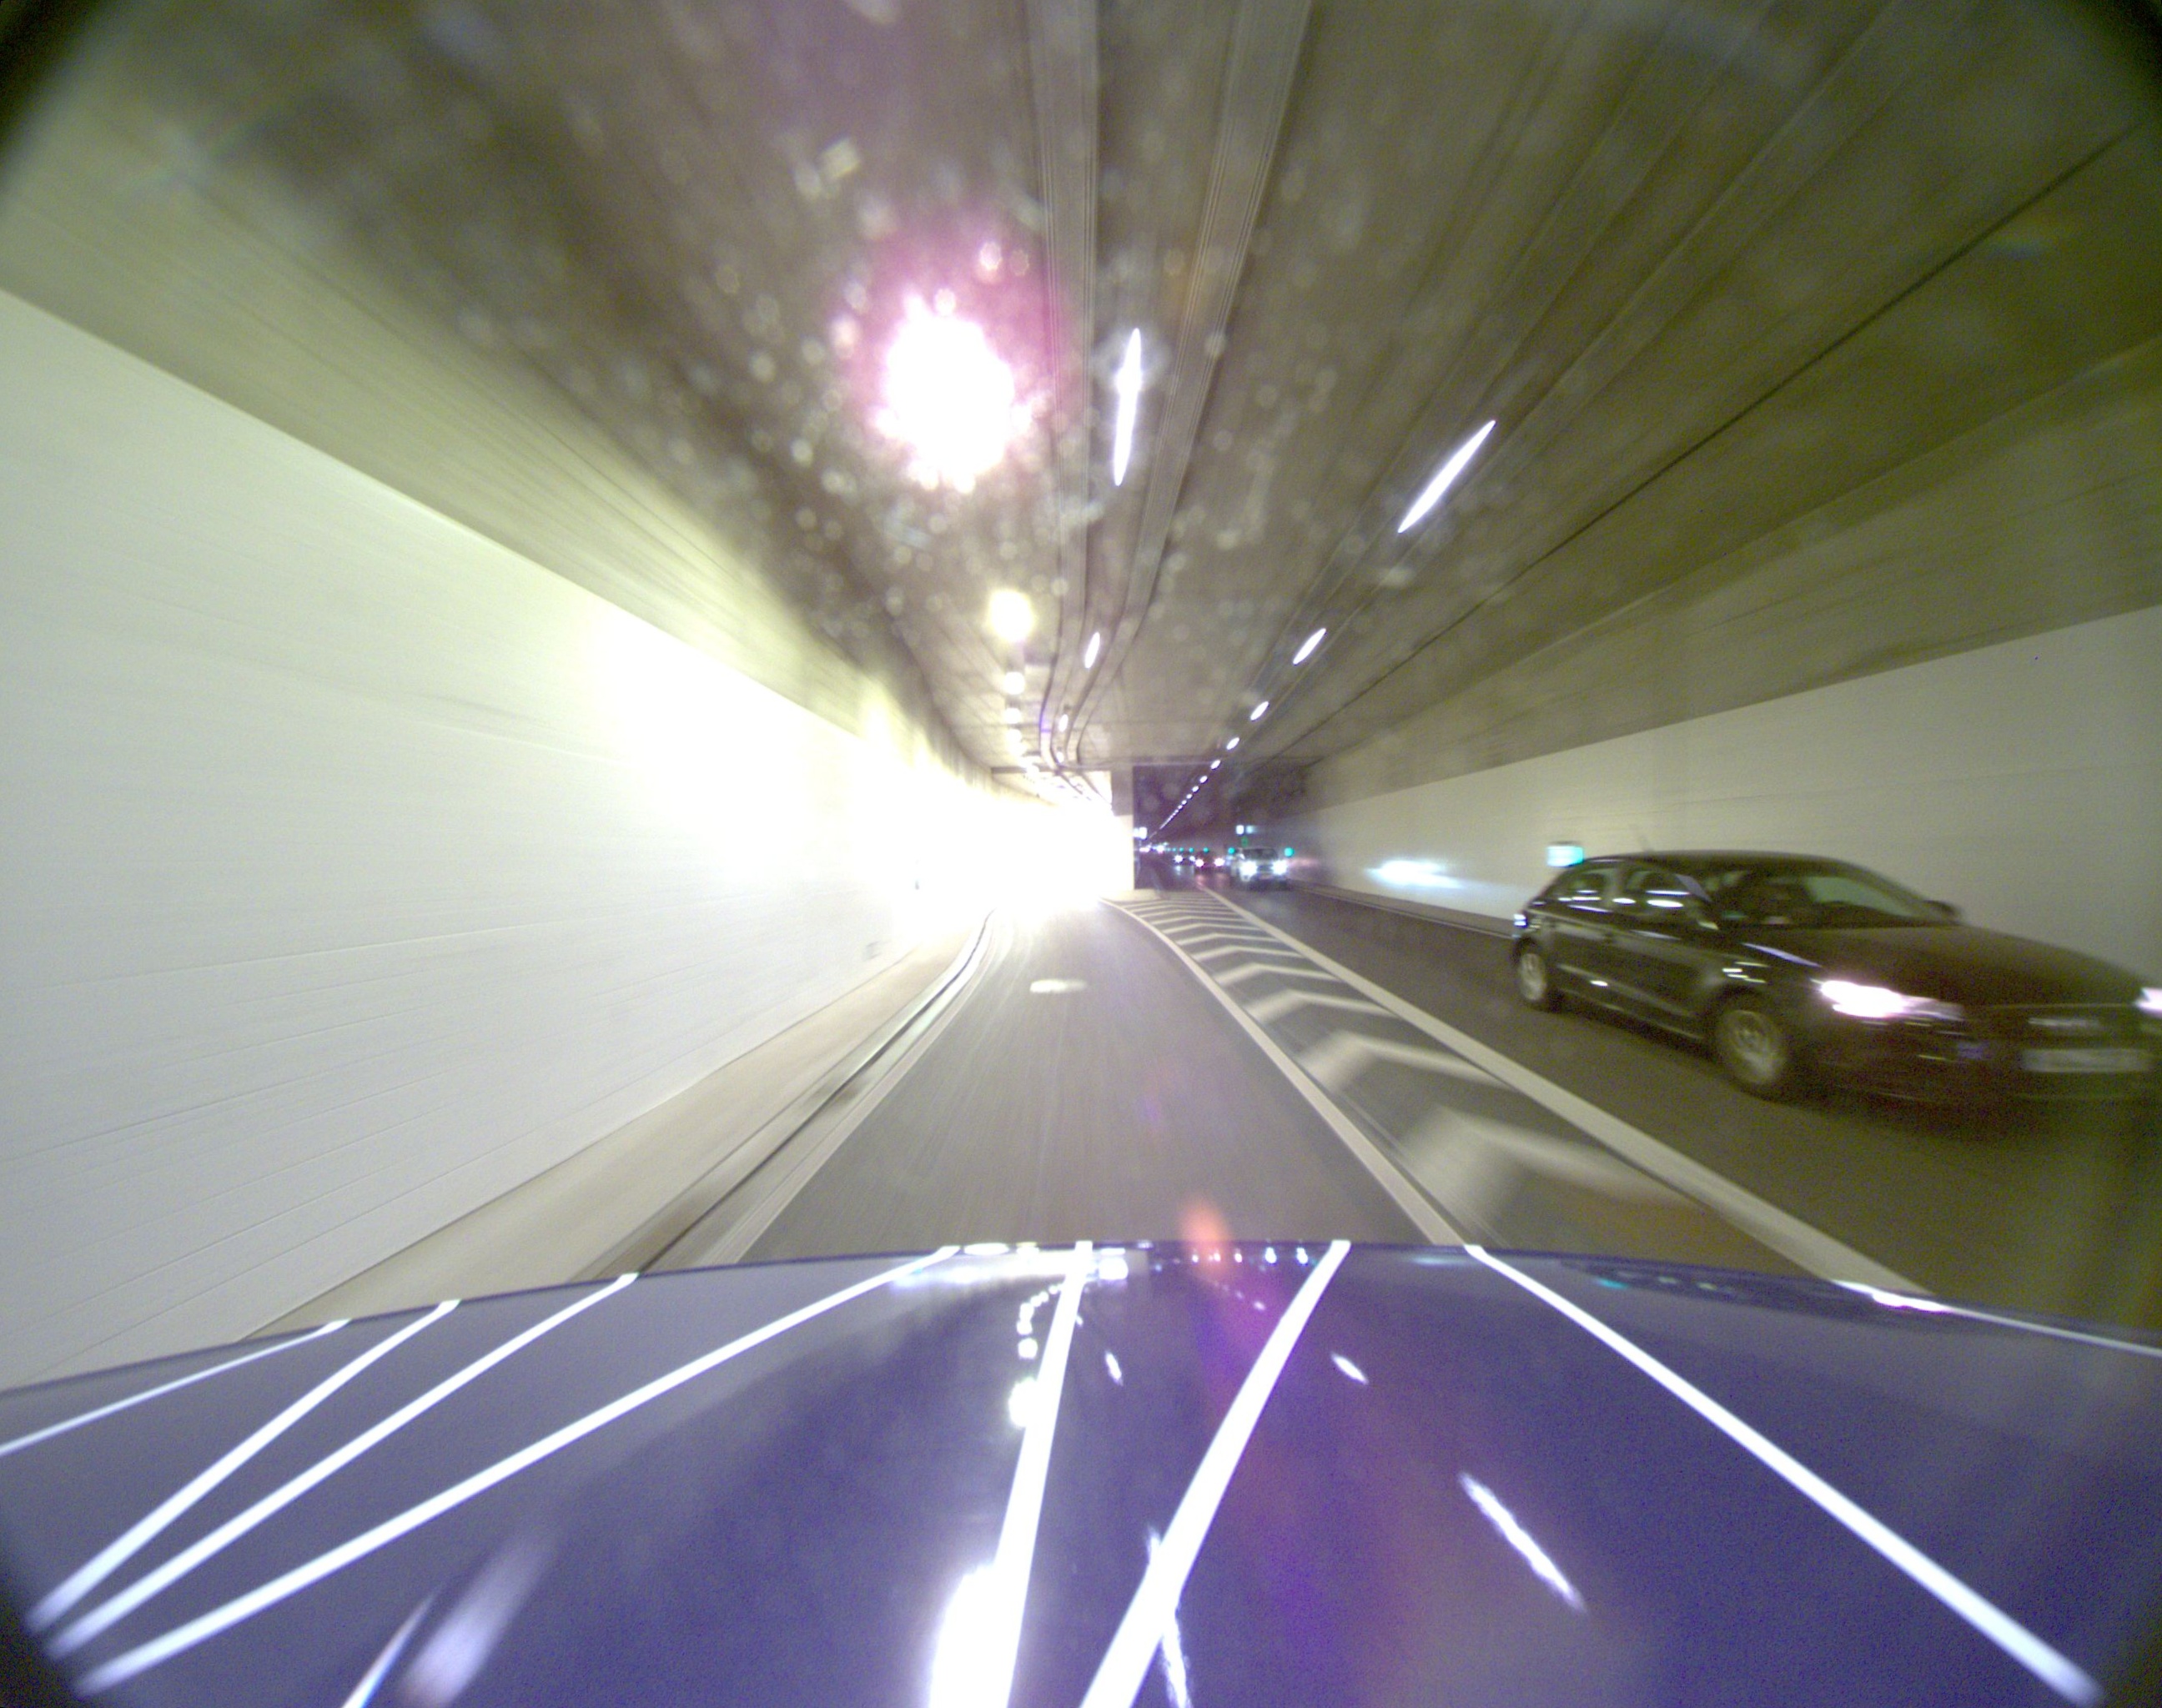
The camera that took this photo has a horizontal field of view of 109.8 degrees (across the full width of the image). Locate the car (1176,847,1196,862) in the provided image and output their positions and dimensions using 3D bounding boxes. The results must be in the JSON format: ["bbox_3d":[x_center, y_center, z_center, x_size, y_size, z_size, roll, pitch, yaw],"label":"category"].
[{"bbox_3d":[10.729,0.044,78.034,1.718,1.443,3.681,-3,0,3],"label":"car"}]

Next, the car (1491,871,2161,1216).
[{"bbox_3d":[4.666,0.900,5.319,1.660,1.393,3.877,-2,0,3],"label":"car"}]

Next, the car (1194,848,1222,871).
[{"bbox_3d":[8.832,0.386,53.216,1.607,1.462,3.681,-3,0,5],"label":"car"}]

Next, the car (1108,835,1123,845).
[{"bbox_3d":[4.576,-1.847,100.537,1.829,1.328,4.001,-1,1,5],"label":"car"}]

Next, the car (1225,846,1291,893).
[{"bbox_3d":[6.814,0.558,29.628,1.853,1.655,3.832,-1,0,3],"label":"car"}]
